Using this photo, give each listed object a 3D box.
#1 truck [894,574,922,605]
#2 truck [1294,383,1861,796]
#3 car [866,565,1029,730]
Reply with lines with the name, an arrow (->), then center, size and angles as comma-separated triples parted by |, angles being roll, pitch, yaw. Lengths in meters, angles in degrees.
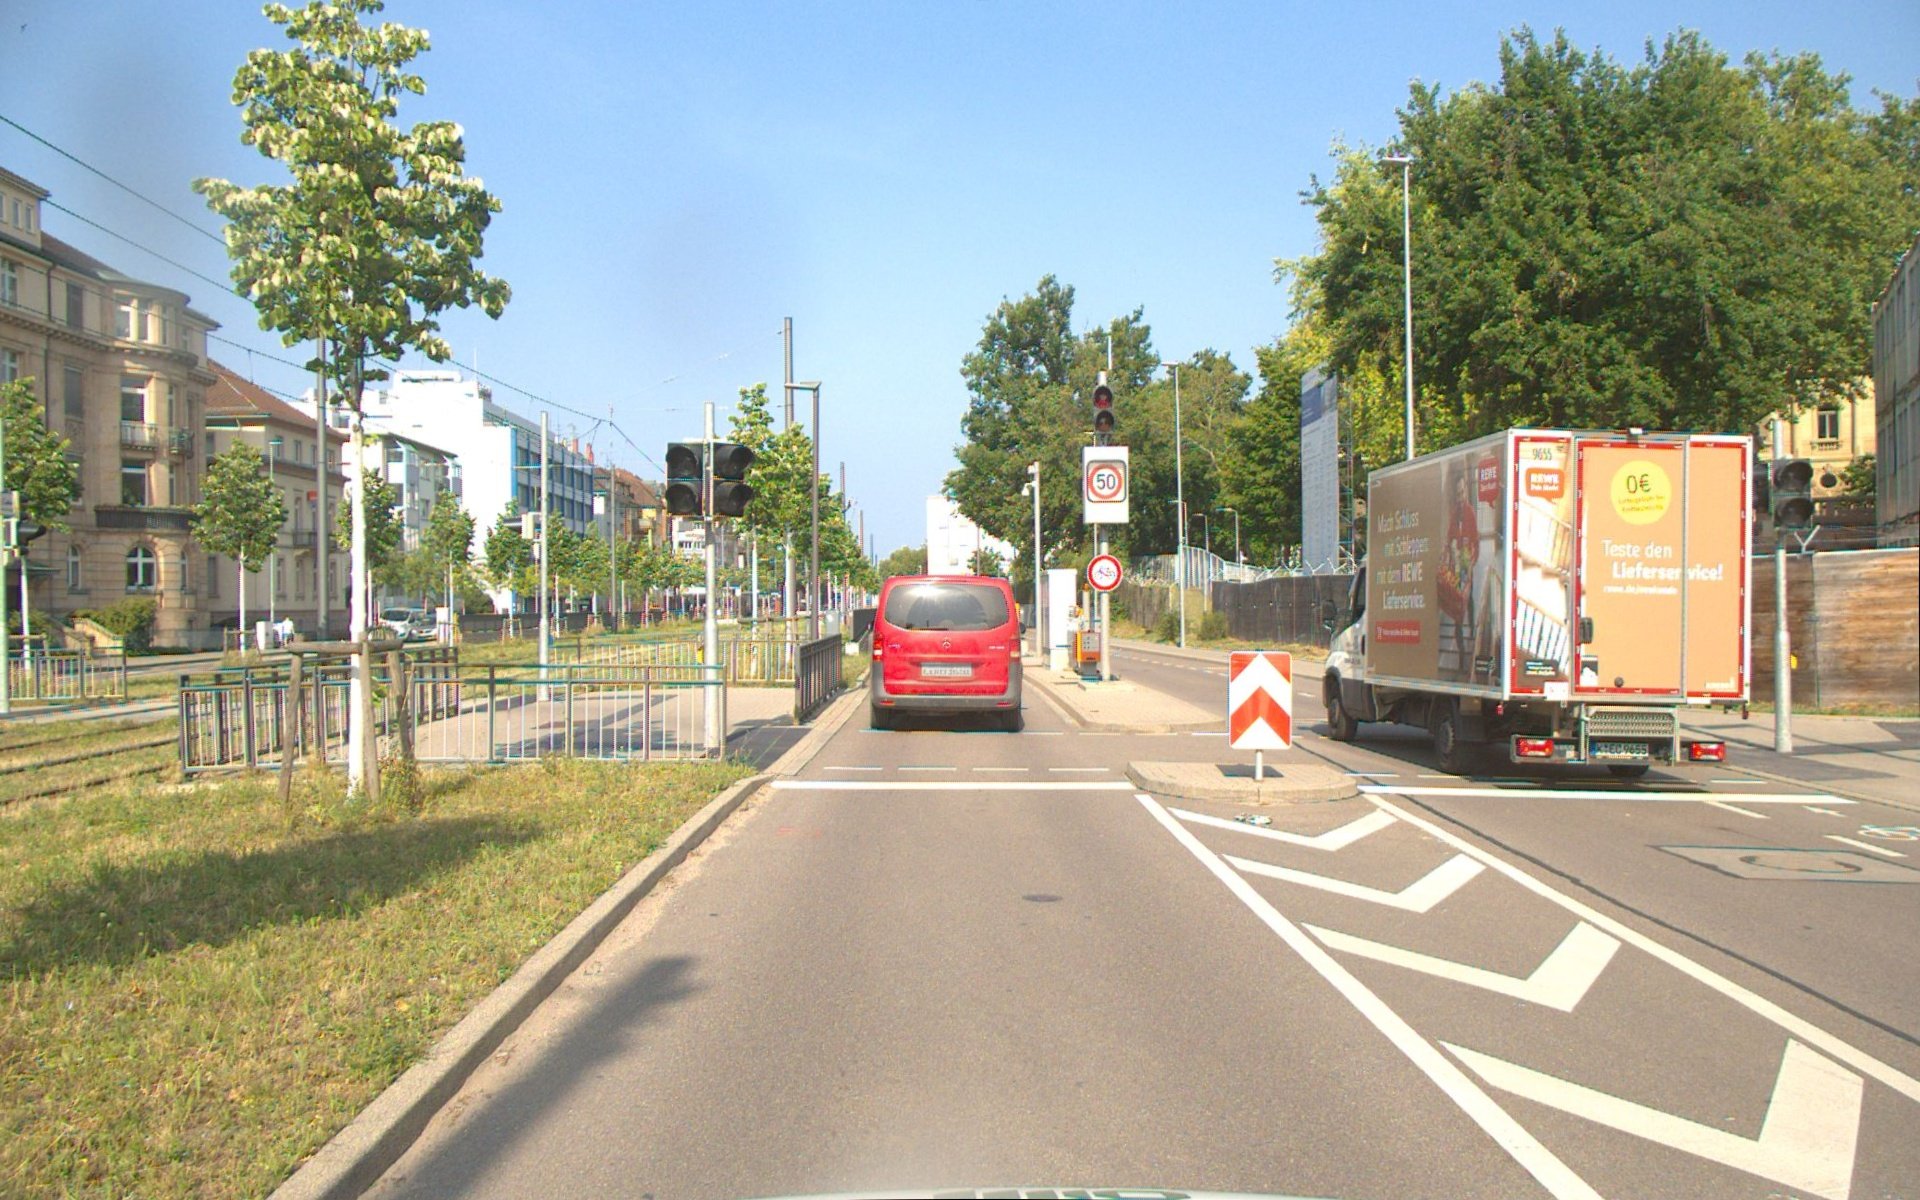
truck -> -6.610, -1.288, 209.721 | 3.323, 3.791, 10.445 | -1, 0, -3
truck -> 5.547, -0.029, 16.599 | 2.452, 3.114, 7.815 | 1, -1, -2
car -> -0.169, 0.560, 21.218 | 1.862, 1.892, 3.999 | 1, 0, -1
